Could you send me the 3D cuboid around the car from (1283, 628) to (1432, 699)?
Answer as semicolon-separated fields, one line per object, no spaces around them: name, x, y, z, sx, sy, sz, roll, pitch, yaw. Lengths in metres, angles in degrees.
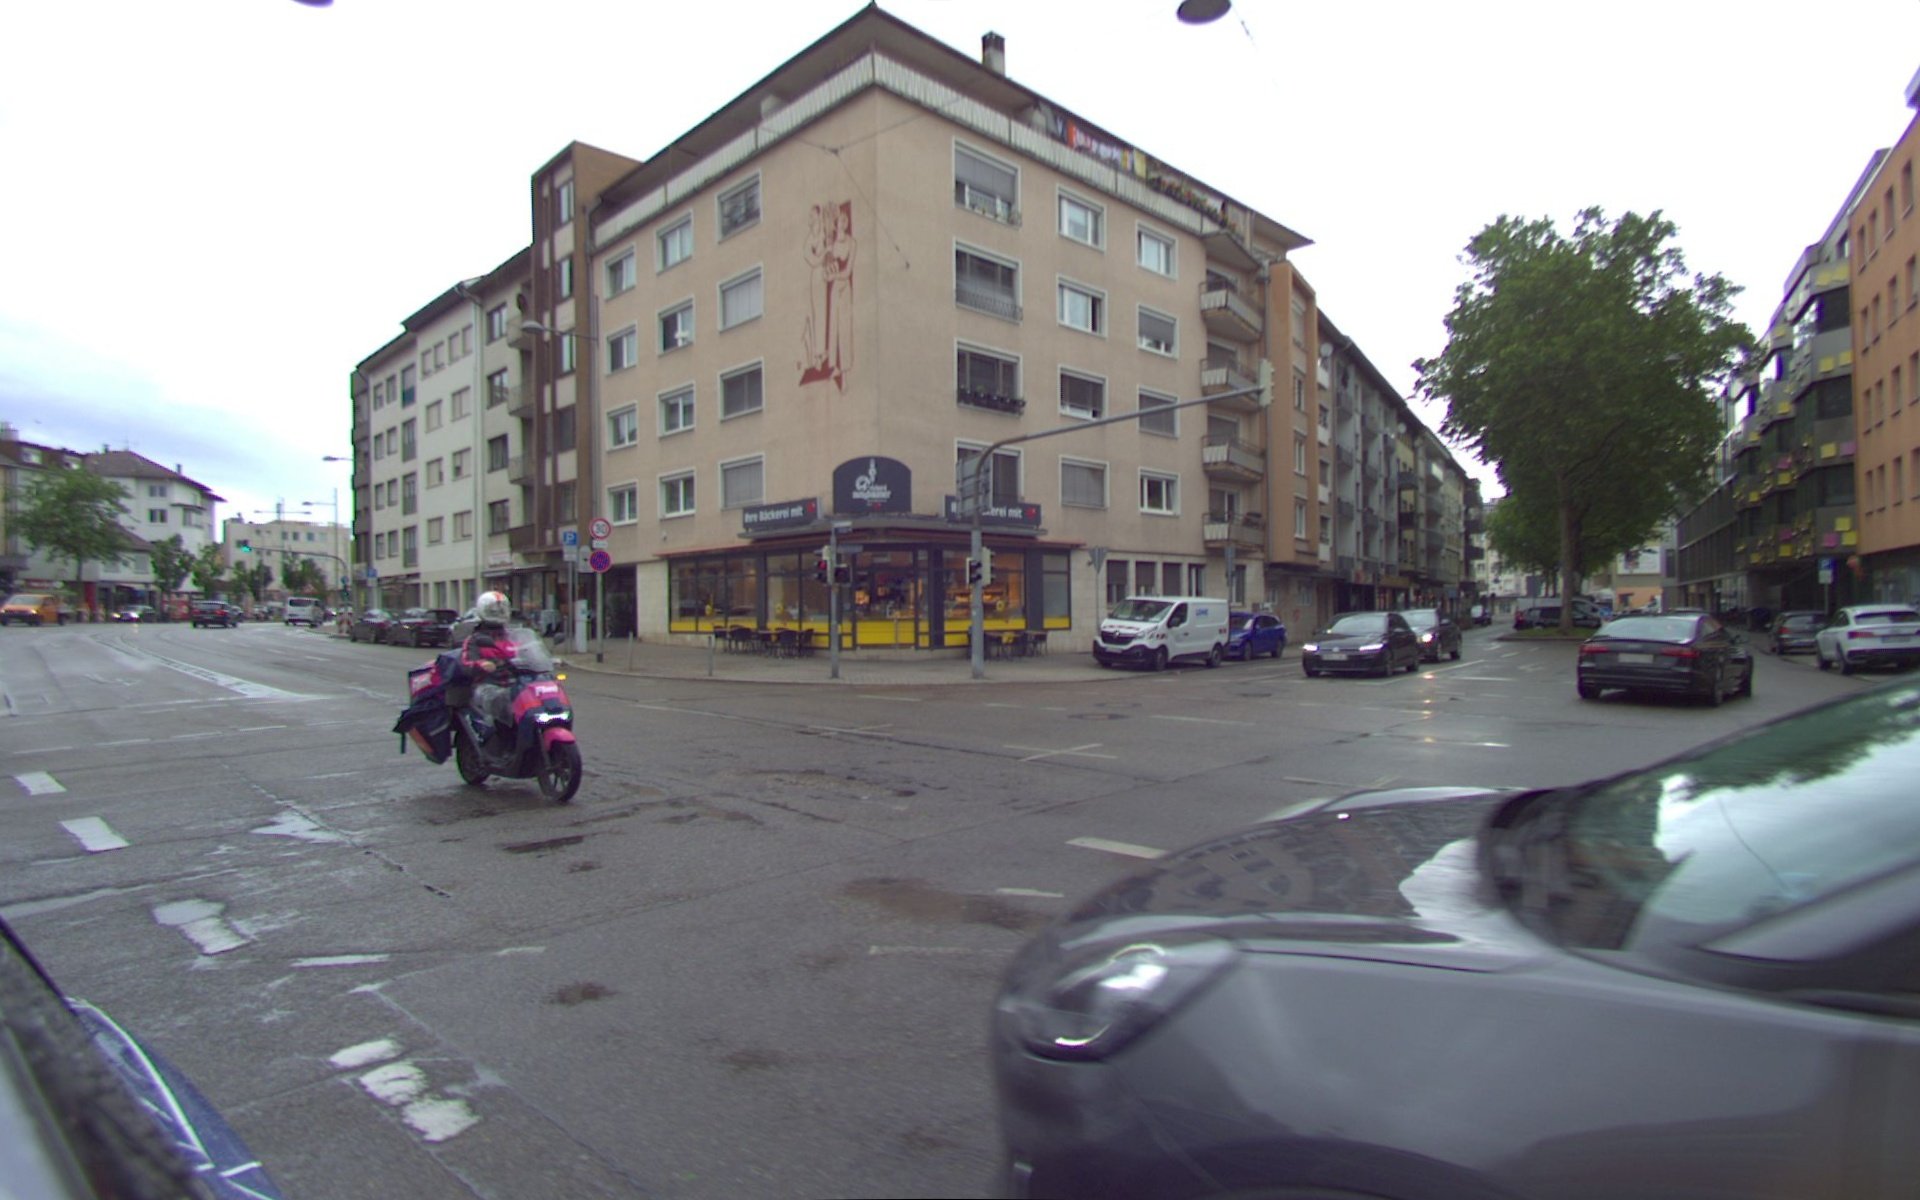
car;9.115;1.392;23.001;2.043;1.387;4.286;-4;-3;37

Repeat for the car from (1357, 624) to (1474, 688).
car;12.961;1.540;28.643;2.042;1.602;4.599;-4;-3;36

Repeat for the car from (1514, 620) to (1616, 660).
car;28.961;1.936;48.506;3.991;1.674;1.868;-4;-1;35

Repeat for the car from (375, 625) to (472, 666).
car;-20.727;1.702;38.996;4.519;1.488;1.971;-2;-2;43

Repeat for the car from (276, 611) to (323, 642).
car;-49.216;1.947;75.494;2.089;2.029;5.146;-3;1;-25

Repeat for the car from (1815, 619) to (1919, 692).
car;22.833;1.313;24.964;2.040;1.643;4.292;-2;-2;32

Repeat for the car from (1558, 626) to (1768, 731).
car;11.753;1.182;16.795;4.432;1.398;2.002;0;0;-43

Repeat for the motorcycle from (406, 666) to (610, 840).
motorcycle;-3.756;1.182;8.313;2.099;1.200;0.581;-2;0;37

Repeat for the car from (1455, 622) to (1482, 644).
car;43.697;2.816;86.924;1.785;1.586;3.959;-3;0;30

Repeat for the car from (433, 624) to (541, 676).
car;-15.451;1.573;32.913;1.885;1.566;4.636;2;-2;-42

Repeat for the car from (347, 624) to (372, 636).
car;-73.087;3.678;123.216;1.955;1.470;4.500;2;-3;-23

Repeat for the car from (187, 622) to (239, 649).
car;-47.295;2.231;64.167;1.836;1.659;4.267;1;-2;-25

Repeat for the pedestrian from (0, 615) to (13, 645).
pedestrian;-61.768;1.907;65.122;1.026;1.875;0.911;1;-1;26

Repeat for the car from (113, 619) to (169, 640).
car;-62.836;2.266;77.717;1.813;1.453;4.011;-3;0;-15

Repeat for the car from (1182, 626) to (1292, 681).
car;9.075;1.681;32.976;2.043;1.567;4.286;1;0;37

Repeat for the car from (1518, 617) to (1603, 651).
car;34.473;1.972;58.163;3.991;1.674;1.868;-4;-1;35

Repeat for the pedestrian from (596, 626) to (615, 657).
pedestrian;-13.897;1.620;39.662;0.663;1.157;0.597;-1;-1;-17

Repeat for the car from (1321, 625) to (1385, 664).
car;17.047;1.871;43.798;1.836;1.502;4.215;1;0;32

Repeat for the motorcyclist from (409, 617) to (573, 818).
motorcyclist;-3.852;0.907;8.329;0.863;1.504;0.906;-2;0;37

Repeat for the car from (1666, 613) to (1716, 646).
car;34.598;1.376;47.946;1.848;1.483;3.791;-2;-2;35

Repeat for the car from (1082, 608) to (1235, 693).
car;5.579;1.300;28.031;2.045;2.118;4.801;1;0;41

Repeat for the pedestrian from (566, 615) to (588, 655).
pedestrian;-15.473;1.393;40.879;0.667;1.595;0.538;-1;-1;32

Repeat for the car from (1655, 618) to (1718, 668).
car;25.730;1.491;35.779;1.695;1.639;3.950;-1;-2;37

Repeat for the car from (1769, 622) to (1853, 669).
car;29.020;1.519;34.607;1.848;1.483;3.791;-2;-2;35

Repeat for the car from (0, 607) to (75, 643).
car;-57.312;1.541;62.507;2.162;2.102;5.953;-1;-1;-22

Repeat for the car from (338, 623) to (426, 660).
car;-24.545;1.735;42.888;4.980;1.488;1.861;-2;-3;44

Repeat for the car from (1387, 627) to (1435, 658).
car;24.567;2.276;55.044;1.836;1.502;4.215;1;0;32

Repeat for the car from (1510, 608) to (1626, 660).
car;30.519;1.715;50.822;4.759;2.323;1.868;-4;-1;35

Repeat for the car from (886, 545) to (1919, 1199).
car;2.150;0.725;1.210;4.212;1.565;1.842;-1;-2;32
